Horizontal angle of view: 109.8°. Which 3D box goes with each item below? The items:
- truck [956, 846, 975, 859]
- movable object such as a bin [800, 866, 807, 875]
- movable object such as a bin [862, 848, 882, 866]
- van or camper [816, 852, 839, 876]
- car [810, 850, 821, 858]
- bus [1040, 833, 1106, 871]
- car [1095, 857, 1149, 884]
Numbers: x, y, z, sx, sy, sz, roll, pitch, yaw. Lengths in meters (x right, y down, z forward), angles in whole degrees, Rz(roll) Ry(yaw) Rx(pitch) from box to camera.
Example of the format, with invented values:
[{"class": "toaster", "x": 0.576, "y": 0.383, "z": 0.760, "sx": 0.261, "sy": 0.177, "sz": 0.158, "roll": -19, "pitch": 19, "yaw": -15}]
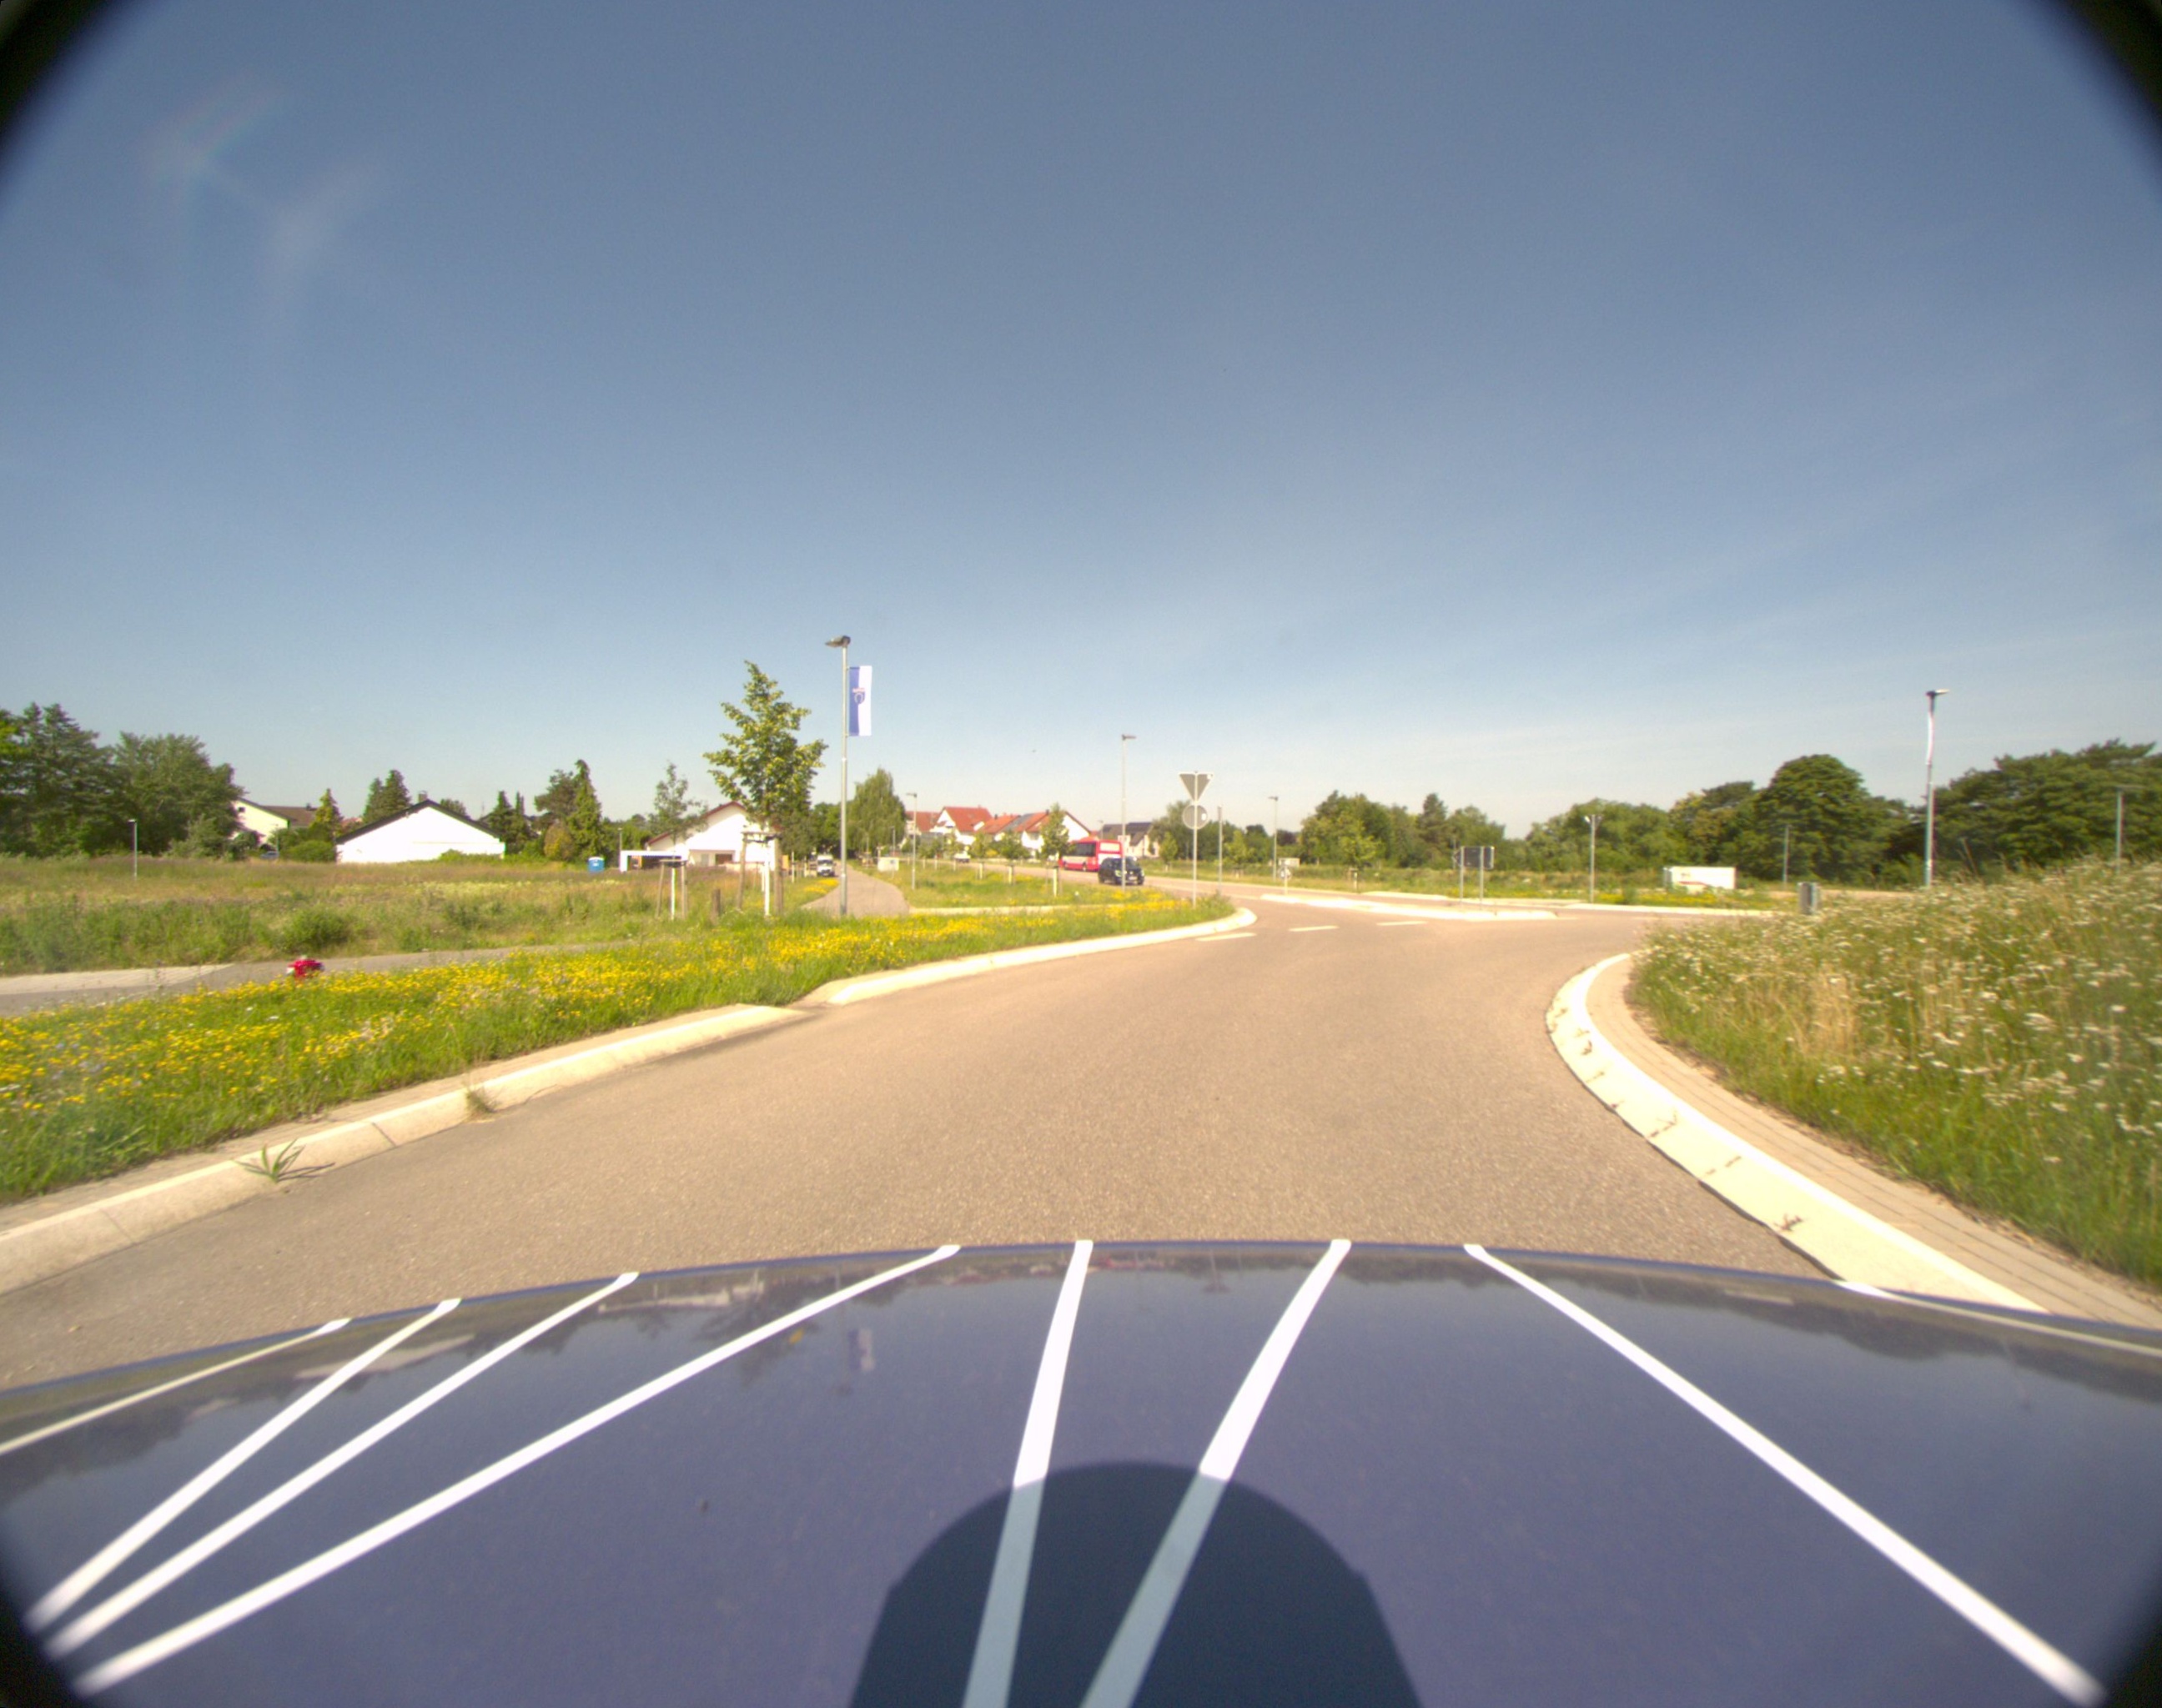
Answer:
[{"class": "truck", "x": -18.682, "y": -0.212, "z": 122.796, "sx": 1.959, "sy": 1.973, "sz": 5.634, "roll": -1, "pitch": 1, "yaw": -19}, {"class": "movable object such as a bin", "x": -30.673, "y": 1.807, "z": 83.947, "sx": 0.695, "sy": 0.932, "sz": 0.638, "roll": 0, "pitch": 1, "yaw": -14}, {"class": "movable object such as a bin", "x": -30.857, "y": 0.451, "z": 111.999, "sx": 2.325, "sy": 2.448, "sz": 6.935, "roll": -2, "pitch": 0, "yaw": -18}, {"class": "van or camper", "x": -29.295, "y": 1.131, "z": 87.690, "sx": 2.181, "sy": 2.586, "sz": 6.019, "roll": -1, "pitch": 1, "yaw": -21}, {"class": "car", "x": -56.921, "y": 0.013, "z": 162.856, "sx": 1.866, "sy": 1.437, "sz": 4.160, "roll": -2, "pitch": 2, "yaw": -22}, {"class": "bus", "x": -1.005, "y": -0.194, "z": 73.762, "sx": 2.806, "sy": 3.267, "sz": 12.209, "roll": 3, "pitch": -1, "yaw": -18}, {"class": "car", "x": 2.449, "y": 0.979, "z": 46.460, "sx": 1.936, "sy": 1.552, "sz": 3.993, "roll": 1, "pitch": 0, "yaw": -20}]
